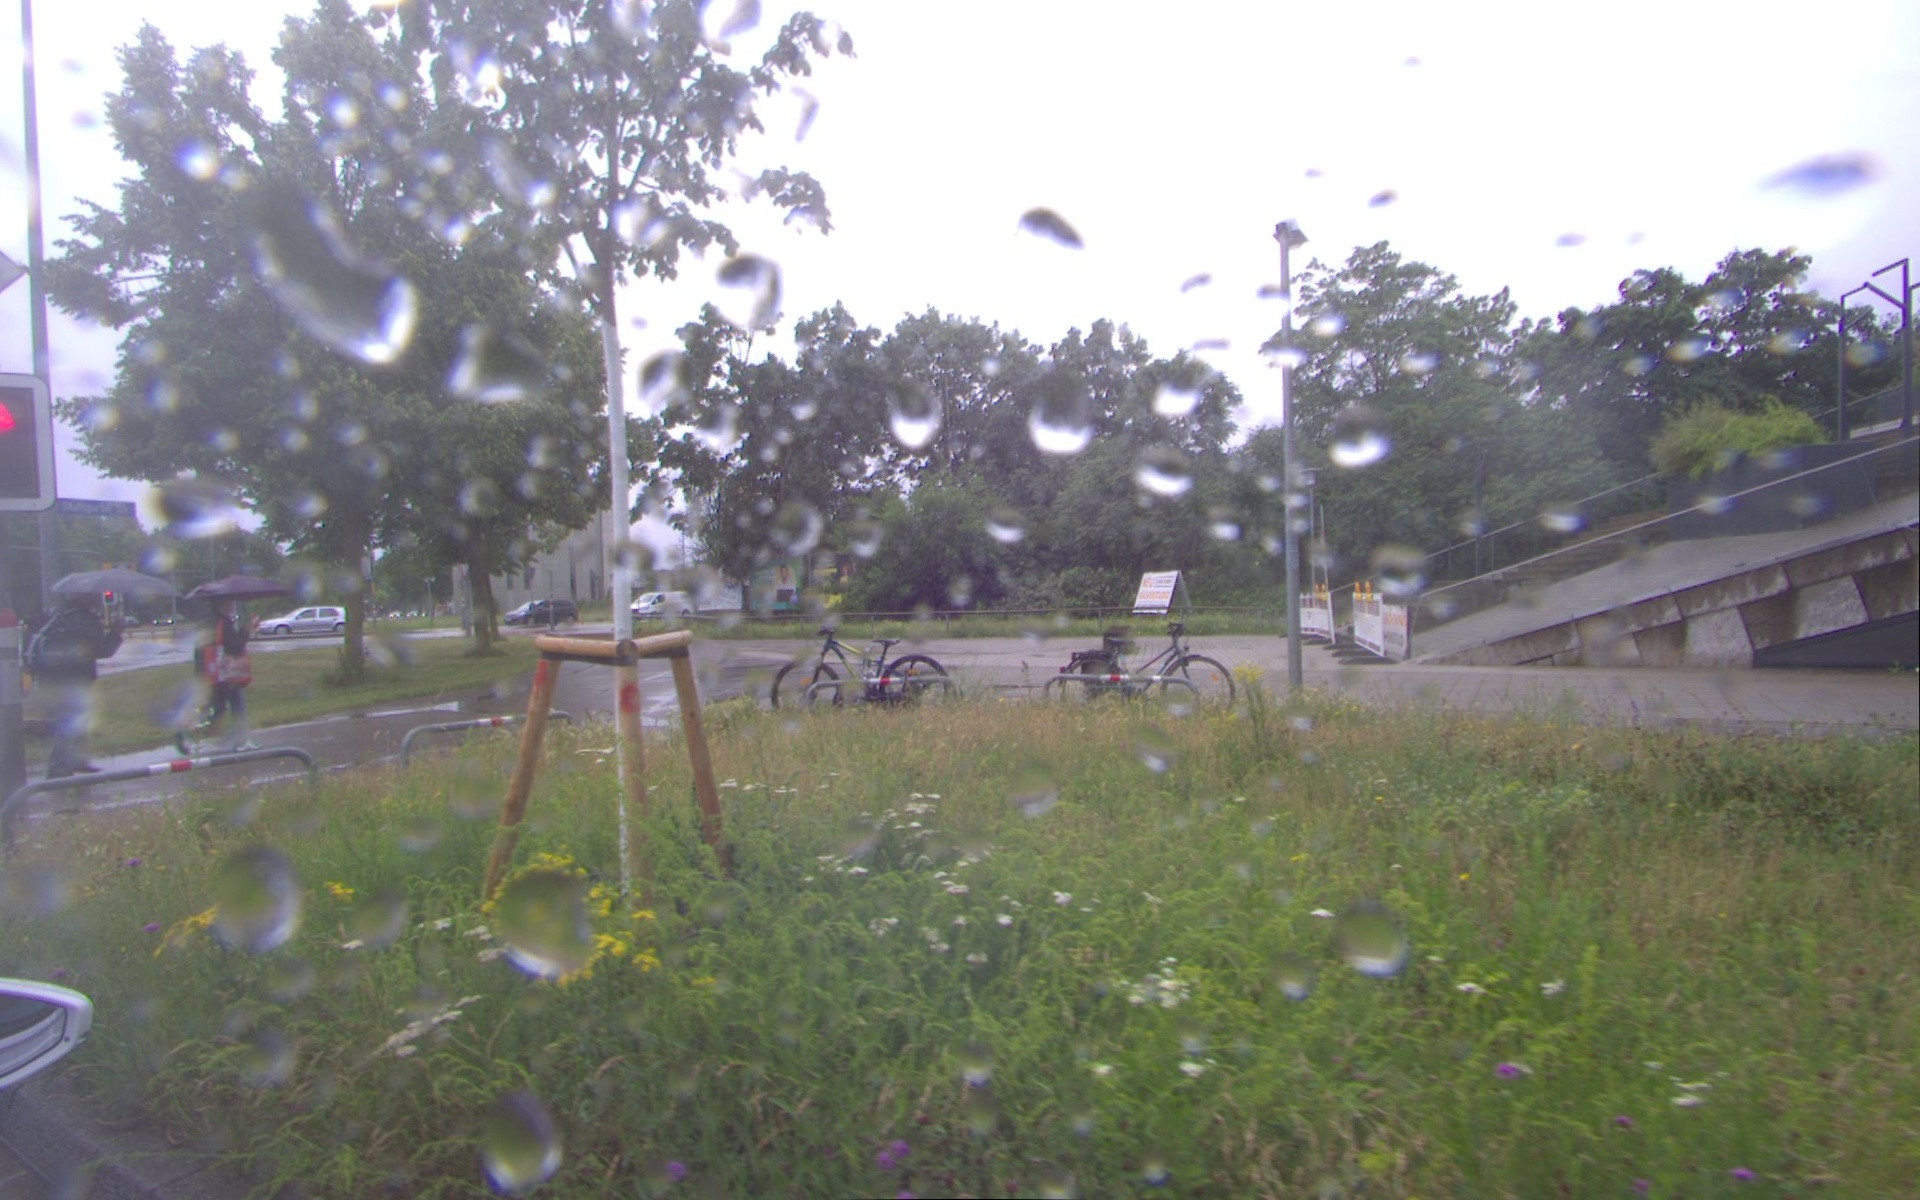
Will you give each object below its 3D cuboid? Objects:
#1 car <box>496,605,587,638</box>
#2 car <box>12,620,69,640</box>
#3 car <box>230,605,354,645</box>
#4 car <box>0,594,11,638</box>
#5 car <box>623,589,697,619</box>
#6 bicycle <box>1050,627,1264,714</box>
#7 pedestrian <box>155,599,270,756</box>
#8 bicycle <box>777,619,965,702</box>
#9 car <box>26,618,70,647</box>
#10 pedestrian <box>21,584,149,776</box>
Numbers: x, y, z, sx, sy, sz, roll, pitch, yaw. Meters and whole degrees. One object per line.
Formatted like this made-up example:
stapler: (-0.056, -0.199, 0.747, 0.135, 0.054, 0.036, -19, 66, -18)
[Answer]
car: (-25.036, 1.305, 60.037, 1.977, 1.874, 4.740, -2, -3, 40)
car: (-78.143, 2.565, 85.151, 1.770, 1.683, 4.404, 0, -2, -16)
car: (-32.680, 1.257, 49.076, 1.980, 1.874, 4.733, -2, -3, 44)
car: (-43.460, 0.718, 42.121, 4.693, 1.876, 1.995, -1, 0, -19)
car: (-20.493, 0.278, 68.605, 1.973, 1.874, 4.749, -2, -2, 34)
bicycle: (1.881, 0.670, 9.625, 1.972, 0.797, 0.454, -1, -2, 16)
pedestrian: (-7.395, 0.744, 9.917, 0.564, 1.480, 0.679, -1, 1, 28)
bicycle: (-0.868, 0.599, 9.942, 1.823, 0.797, 0.380, 0, -1, -2)
car: (-50.175, 1.762, 55.076, 3.947, 1.473, 1.608, -1, 0, 45)
pedestrian: (-7.412, 0.654, 8.486, 0.730, 1.542, 0.620, 0, -1, 31)
